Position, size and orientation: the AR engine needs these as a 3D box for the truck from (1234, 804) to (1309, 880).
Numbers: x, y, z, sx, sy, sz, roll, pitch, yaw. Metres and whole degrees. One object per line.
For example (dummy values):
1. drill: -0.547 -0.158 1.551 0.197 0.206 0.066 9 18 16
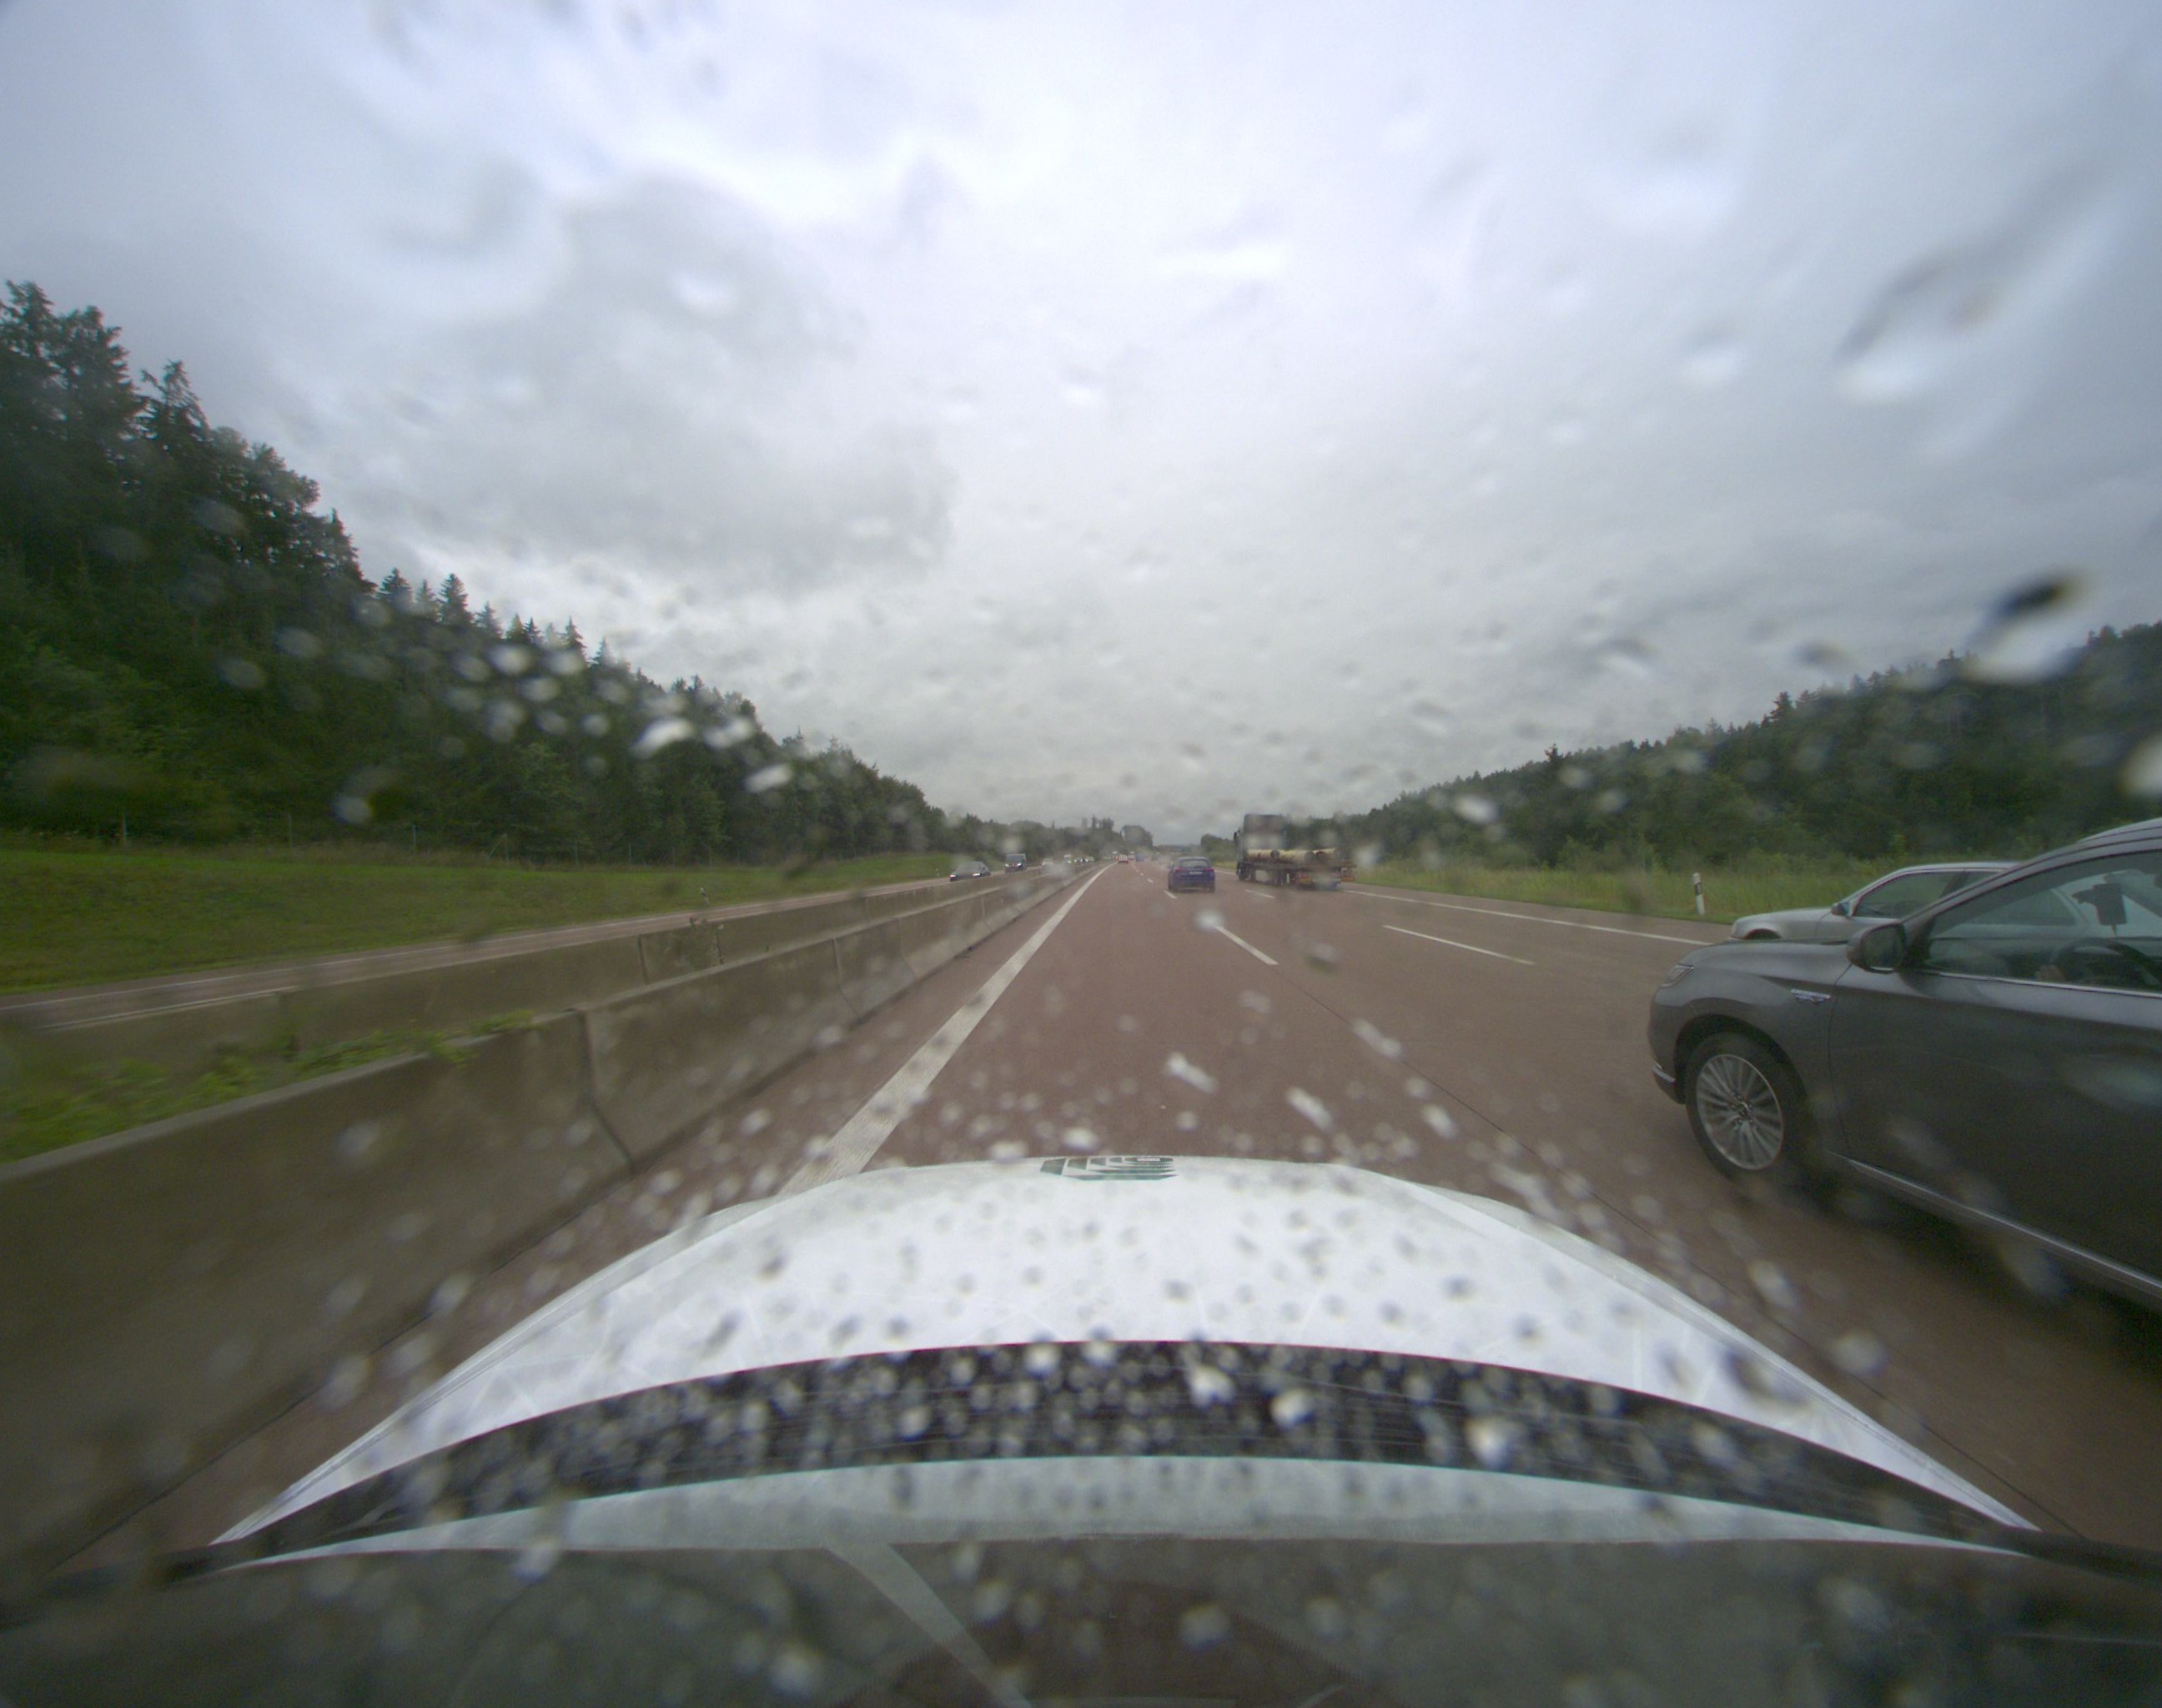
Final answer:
1. truck: 10.578 -0.533 45.907 2.885 3.965 6.992 0 -1 2

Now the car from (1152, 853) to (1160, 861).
1. car: 20.687 0.894 223.818 1.985 2.014 4.002 0 -1 2

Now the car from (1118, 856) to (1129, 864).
1. car: 8.182 1.234 156.076 1.867 1.444 4.876 0 -1 0

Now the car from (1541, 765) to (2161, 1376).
1. car: 3.810 0.564 2.207 1.986 1.593 5.822 0 -1 2

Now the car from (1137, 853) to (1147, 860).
1. car: 15.249 0.620 202.647 2.313 1.750 4.880 0 -1 3

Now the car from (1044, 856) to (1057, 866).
1. car: -5.138 1.228 136.512 1.782 1.557 4.868 -3 0 2

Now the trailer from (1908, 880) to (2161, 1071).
1. trailer: 7.926 0.816 4.591 1.964 1.166 4.642 0 0 2

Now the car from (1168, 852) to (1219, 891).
1. car: 4.739 0.766 34.785 1.764 1.564 4.149 0 -1 3

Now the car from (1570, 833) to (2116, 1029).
1. car: 7.889 0.693 9.338 1.691 1.611 4.978 -1 -1 2

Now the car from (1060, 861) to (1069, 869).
1. car: -3.587 2.375 177.539 1.643 1.389 4.813 -4 0 2

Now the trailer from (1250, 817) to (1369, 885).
1. trailer: 10.221 0.001 37.985 2.869 2.676 11.405 0 -1 3

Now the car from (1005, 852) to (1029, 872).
1. car: -7.332 0.972 93.677 2.094 2.279 5.397 0 -1 2

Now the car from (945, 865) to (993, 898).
1. car: -6.544 1.606 48.303 1.769 1.856 5.326 0 -1 4

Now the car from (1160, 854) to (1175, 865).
1. car: 14.612 0.888 138.181 2.313 1.750 4.880 0 -1 3
